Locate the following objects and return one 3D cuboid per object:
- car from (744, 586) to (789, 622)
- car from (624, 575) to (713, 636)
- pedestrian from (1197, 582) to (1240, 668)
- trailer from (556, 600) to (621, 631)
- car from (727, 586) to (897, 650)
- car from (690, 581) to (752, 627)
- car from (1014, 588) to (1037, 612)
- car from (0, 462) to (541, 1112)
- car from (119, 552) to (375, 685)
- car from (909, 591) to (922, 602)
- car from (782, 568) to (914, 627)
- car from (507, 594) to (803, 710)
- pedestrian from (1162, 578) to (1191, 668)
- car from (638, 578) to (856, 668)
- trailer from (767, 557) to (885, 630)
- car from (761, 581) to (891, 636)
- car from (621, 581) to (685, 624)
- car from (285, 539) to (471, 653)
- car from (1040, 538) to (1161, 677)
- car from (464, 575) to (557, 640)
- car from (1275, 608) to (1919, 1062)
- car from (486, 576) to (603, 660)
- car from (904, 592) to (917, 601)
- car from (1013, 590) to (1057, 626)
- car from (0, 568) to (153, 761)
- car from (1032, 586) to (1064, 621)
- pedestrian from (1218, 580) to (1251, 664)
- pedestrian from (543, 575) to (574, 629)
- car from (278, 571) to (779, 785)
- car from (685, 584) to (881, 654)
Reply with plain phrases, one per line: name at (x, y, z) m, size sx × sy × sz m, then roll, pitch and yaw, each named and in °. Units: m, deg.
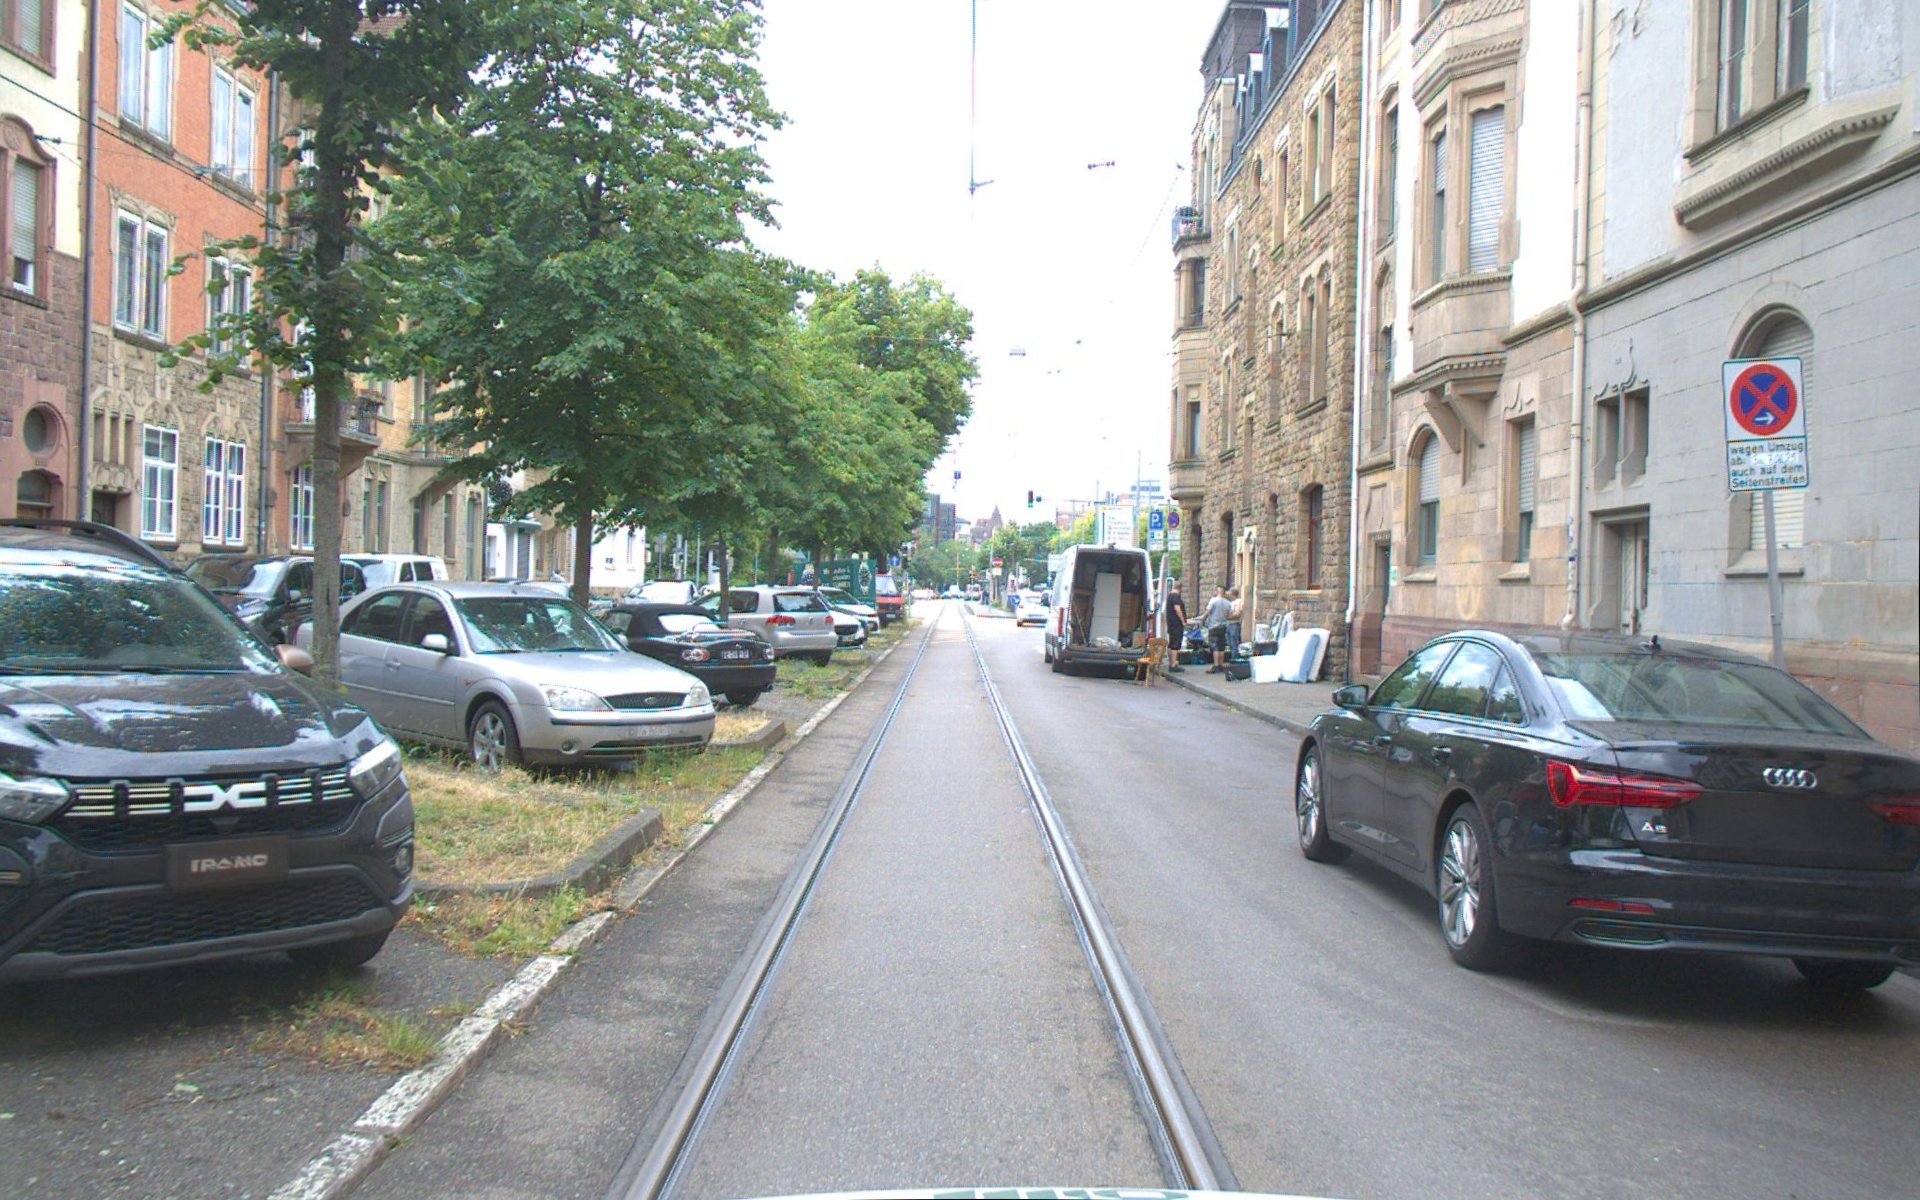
car at (-8.756, 0.183, 74.957) m, size 1.610 × 1.530 × 3.882 m, roll 1°, pitch 0°, yaw -1°
car at (-8.253, 0.148, 47.146) m, size 1.768 × 1.606 × 4.546 m, roll 1°, pitch 0°, yaw -1°
pedestrian at (5.291, 0.500, 33.895) m, size 0.694 × 1.729 × 0.488 m, roll -1°, pitch 0°, yaw -28°
trailer at (-11.488, 0.467, 51.304) m, size 1.425 × 0.908 × 3.076 m, roll 0°, pitch 0°, yaw -2°
car at (-3.790, 0.430, 41.964) m, size 4.263 × 1.460 × 1.887 m, roll 2°, pitch 1°, yaw 42°
car at (-8.578, 0.133, 59.672) m, size 1.610 × 1.530 × 4.621 m, roll 1°, pitch 0°, yaw -1°
car at (5.638, -0.006, 143.138) m, size 1.746 × 1.997 × 4.382 m, roll 2°, pitch 0°, yaw 0°
car at (-3.576, 0.449, 6.285) m, size 4.456 × 1.661 × 1.753 m, roll 1°, pitch 0°, yaw 44°
car at (-10.872, 0.263, 25.680) m, size 1.777 × 1.812 × 5.116 m, roll 1°, pitch 0°, yaw -1°
car at (-6.328, -0.474, 235.901) m, size 1.726 × 1.411 × 4.000 m, roll 1°, pitch 0°, yaw 1°
car at (-4.068, -0.116, 59.707) m, size 4.677 × 2.009 × 1.950 m, roll 2°, pitch 0°, yaw 38°
car at (-3.863, 0.592, 20.582) m, size 3.895 × 1.223 × 1.657 m, roll 2°, pitch 0°, yaw 44°
pedestrian at (4.524, 0.467, 34.632) m, size 0.488 × 1.847 × 0.803 m, roll -1°, pitch 0°, yaw 1°
car at (-4.019, 0.392, 30.914) m, size 4.043 × 1.510 × 1.787 m, roll 2°, pitch 0°, yaw 41°
trailer at (-4.599, -0.232, 56.841) m, size 3.594 × 2.385 × 1.926 m, roll 1°, pitch 0°, yaw 33°
car at (-3.972, 0.229, 48.824) m, size 3.795 × 1.488 × 1.679 m, roll 2°, pitch 1°, yaw 42°
car at (-11.321, 0.064, 61.179) m, size 1.602 × 1.468 × 4.569 m, roll 2°, pitch 0°, yaw -2°
car at (-11.150, -0.067, 32.091) m, size 1.843 × 1.986 × 5.093 m, roll 1°, pitch 0°, yaw -1°
car at (2.913, 0.119, 35.804) m, size 1.972 × 2.593 × 7.017 m, roll 3°, pitch 0°, yaw 1°
car at (-11.431, 0.176, 42.239) m, size 1.602 × 1.577 × 2.950 m, roll 2°, pitch 0°, yaw -2°
car at (3.015, 0.841, 8.352) m, size 1.764 × 1.463 × 5.195 m, roll 2°, pitch 1°, yaw -1°
car at (-8.134, 0.343, 32.554) m, size 1.572 × 1.541 × 2.892 m, roll 1°, pitch 0°, yaw -1°
car at (-7.562, -0.503, 252.671) m, size 1.726 × 1.411 × 4.000 m, roll 1°, pitch 0°, yaw 1°
car at (3.361, 0.346, 73.583) m, size 1.745 × 1.498 × 4.013 m, roll 2°, pitch 0°, yaw 5°
car at (-8.234, 0.474, 12.758) m, size 1.768 × 1.478 × 4.651 m, roll 1°, pitch 0°, yaw -1°
car at (5.297, 0.182, 99.851) m, size 1.745 × 1.997 × 4.383 m, roll 2°, pitch 0°, yaw 1°
pedestrian at (5.758, 0.460, 34.727) m, size 0.498 × 1.747 × 0.580 m, roll -1°, pitch 0°, yaw -10°
pedestrian at (-13.531, 0.071, 55.745) m, size 0.781 × 1.797 × 0.900 m, roll 1°, pitch 0°, yaw -1°
car at (-3.652, 0.517, 13.479) m, size 4.586 × 1.392 × 1.747 m, roll 2°, pitch 0°, yaw 43°
car at (-4.179, 0.418, 38.678) m, size 4.600 × 1.460 × 1.889 m, roll 2°, pitch 1°, yaw 39°
